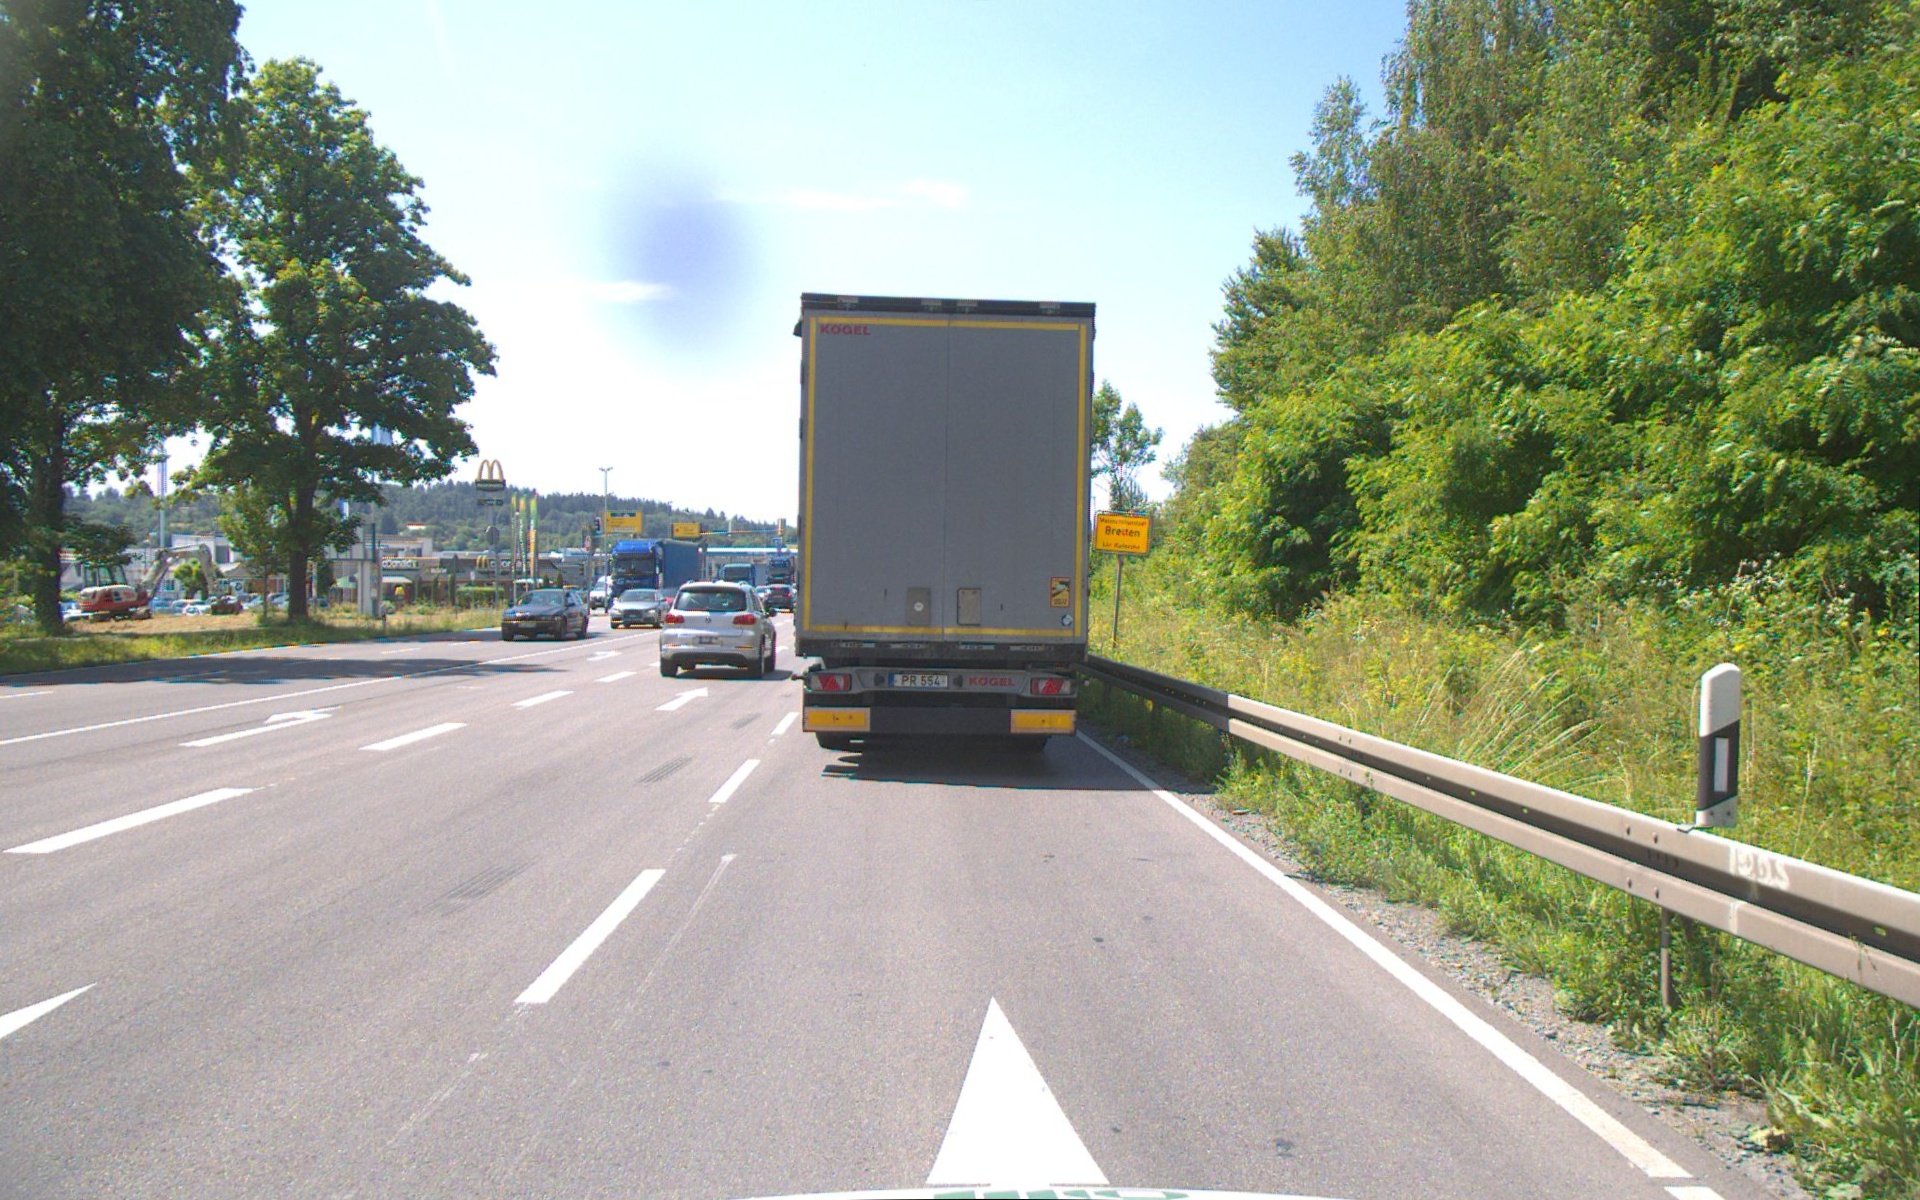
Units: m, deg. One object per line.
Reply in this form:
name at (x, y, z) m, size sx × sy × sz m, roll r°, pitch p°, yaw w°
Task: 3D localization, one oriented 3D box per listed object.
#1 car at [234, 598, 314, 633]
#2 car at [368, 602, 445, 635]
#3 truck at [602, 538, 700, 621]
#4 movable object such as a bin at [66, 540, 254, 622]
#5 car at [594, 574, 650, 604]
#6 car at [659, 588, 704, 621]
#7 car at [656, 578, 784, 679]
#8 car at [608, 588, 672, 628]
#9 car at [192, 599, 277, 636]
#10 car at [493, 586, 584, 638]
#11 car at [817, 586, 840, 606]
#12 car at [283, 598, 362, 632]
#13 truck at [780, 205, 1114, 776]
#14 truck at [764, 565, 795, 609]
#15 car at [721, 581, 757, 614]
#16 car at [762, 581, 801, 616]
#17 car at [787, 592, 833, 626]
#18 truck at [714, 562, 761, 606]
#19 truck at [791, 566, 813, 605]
car at (-33.514, 0.729, 80.802) m, size 3.920 × 1.646 × 1.833 m, roll 1°, pitch 0°, yaw 36°
car at (-28.324, 0.928, 84.598) m, size 3.920 × 1.646 × 1.833 m, roll 1°, pitch 0°, yaw 36°
truck at (-17.031, -1.082, 92.525) m, size 2.908 × 4.250 × 16.568 m, roll 0°, pitch 0°, yaw -2°
movable object such as a bin at (-34.511, -0.817, 71.536) m, size 2.994 × 3.356 × 6.760 m, roll 0°, pitch 1°, yaw 38°
car at (-25.399, -0.802, 124.439) m, size 1.951 × 2.221 × 5.196 m, roll 0°, pitch 0°, yaw 16°
car at (-12.746, 0.177, 75.842) m, size 1.609 × 1.463 × 4.014 m, roll 0°, pitch 0°, yaw -3°
car at (-4.355, 0.477, 30.633) m, size 1.768 × 1.699 × 4.291 m, roll 1°, pitch 0°, yaw -1°
car at (-11.908, 0.308, 61.792) m, size 1.731 × 1.411 × 3.998 m, roll 1°, pitch -1°, yaw -3°
car at (-34.655, 0.810, 79.003) m, size 3.920 × 1.680 × 1.993 m, roll 1°, pitch 0°, yaw 36°
car at (-12.166, 0.355, 47.924) m, size 1.731 × 1.411 × 3.998 m, roll 1°, pitch -1°, yaw -3°
car at (-14.866, -0.429, 187.070) m, size 2.441 × 2.049 × 5.524 m, roll 1°, pitch -1°, yaw -4°
car at (-32.008, 0.721, 83.004) m, size 3.920 × 1.646 × 1.833 m, roll 1°, pitch 0°, yaw 36°
truck at (-0.217, -0.832, 22.162) m, size 2.699 × 4.720 × 16.651 m, roll 1°, pitch -1°, yaw -1°
truck at (-18.906, -1.308, 172.462) m, size 3.086 × 4.425 × 17.516 m, roll 0°, pitch 0°, yaw -7°
car at (-13.844, -0.153, 103.800) m, size 1.737 × 2.049 × 3.999 m, roll 0°, pitch 0°, yaw -1°
car at (-10.625, -0.094, 98.558) m, size 1.953 × 2.049 × 3.999 m, roll 0°, pitch 0°, yaw -1°
car at (-6.447, 0.381, 71.441) m, size 1.651 × 1.423 × 4.402 m, roll 0°, pitch 0°, yaw -1°
truck at (-18.211, -1.260, 136.077) m, size 2.789 × 3.410 × 11.476 m, roll 0°, pitch 0°, yaw -3°
truck at (-19.862, -1.780, 207.494) m, size 2.490 × 4.708 × 10.816 m, roll 1°, pitch -1°, yaw -7°
